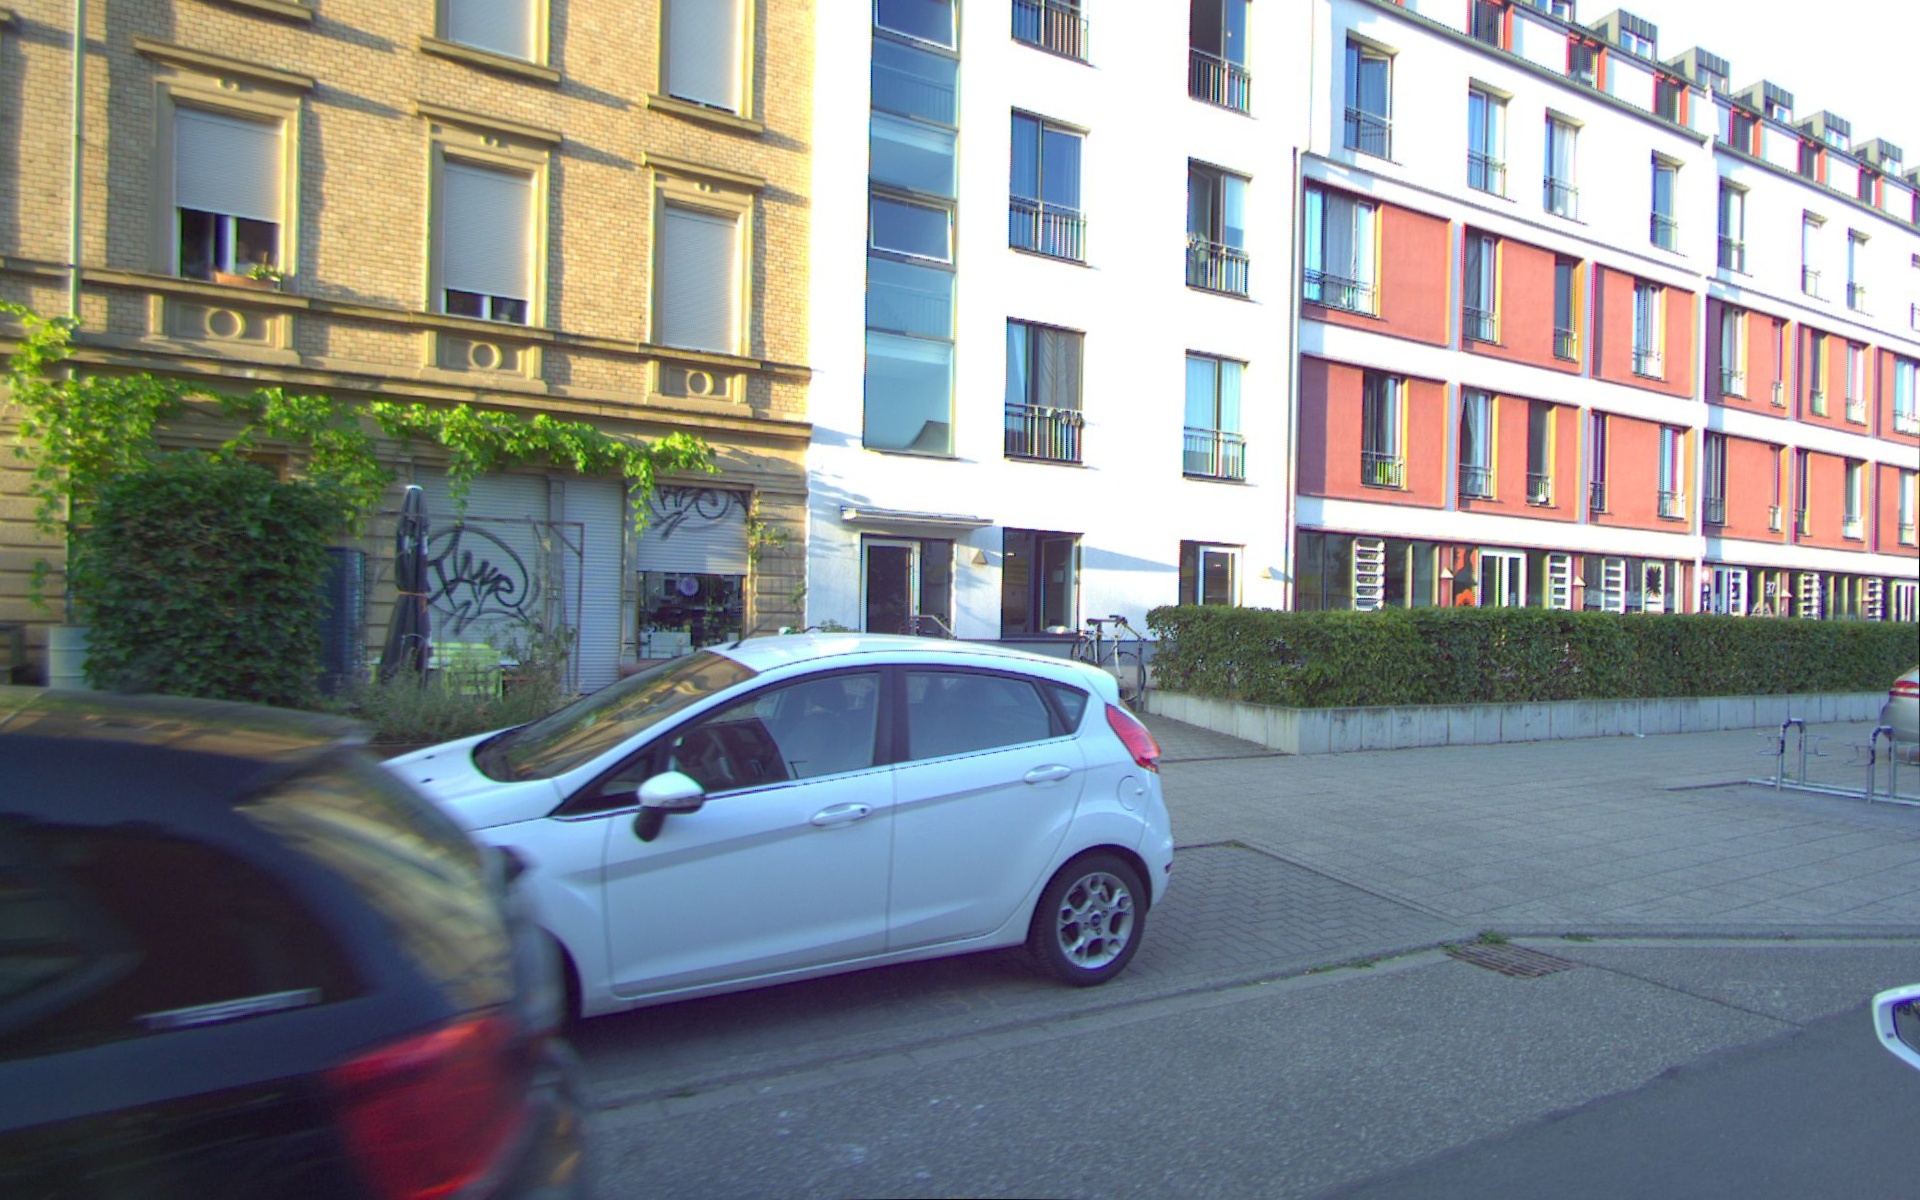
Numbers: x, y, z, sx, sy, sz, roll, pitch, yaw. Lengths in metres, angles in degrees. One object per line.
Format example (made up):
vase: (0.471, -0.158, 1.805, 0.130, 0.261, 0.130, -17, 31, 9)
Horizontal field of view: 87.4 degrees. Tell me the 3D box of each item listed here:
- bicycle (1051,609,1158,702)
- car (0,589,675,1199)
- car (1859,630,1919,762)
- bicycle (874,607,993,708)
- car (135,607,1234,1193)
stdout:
bicycle: (1.975, 0.737, 13.973, 0.602, 1.163, 1.771, 1, 1, -23)
car: (-2.482, 0.731, 1.173, 3.891, 1.474, 1.646, 2, -4, -27)
car: (12.575, 1.162, 10.336, 1.858, 1.480, 4.595, 1, 1, -29)
bicycle: (-0.380, 0.695, 12.898, 0.801, 1.157, 1.909, 1, 1, -25)
car: (-0.863, 0.862, 4.399, 3.969, 1.550, 1.643, 2, 0, -29)
